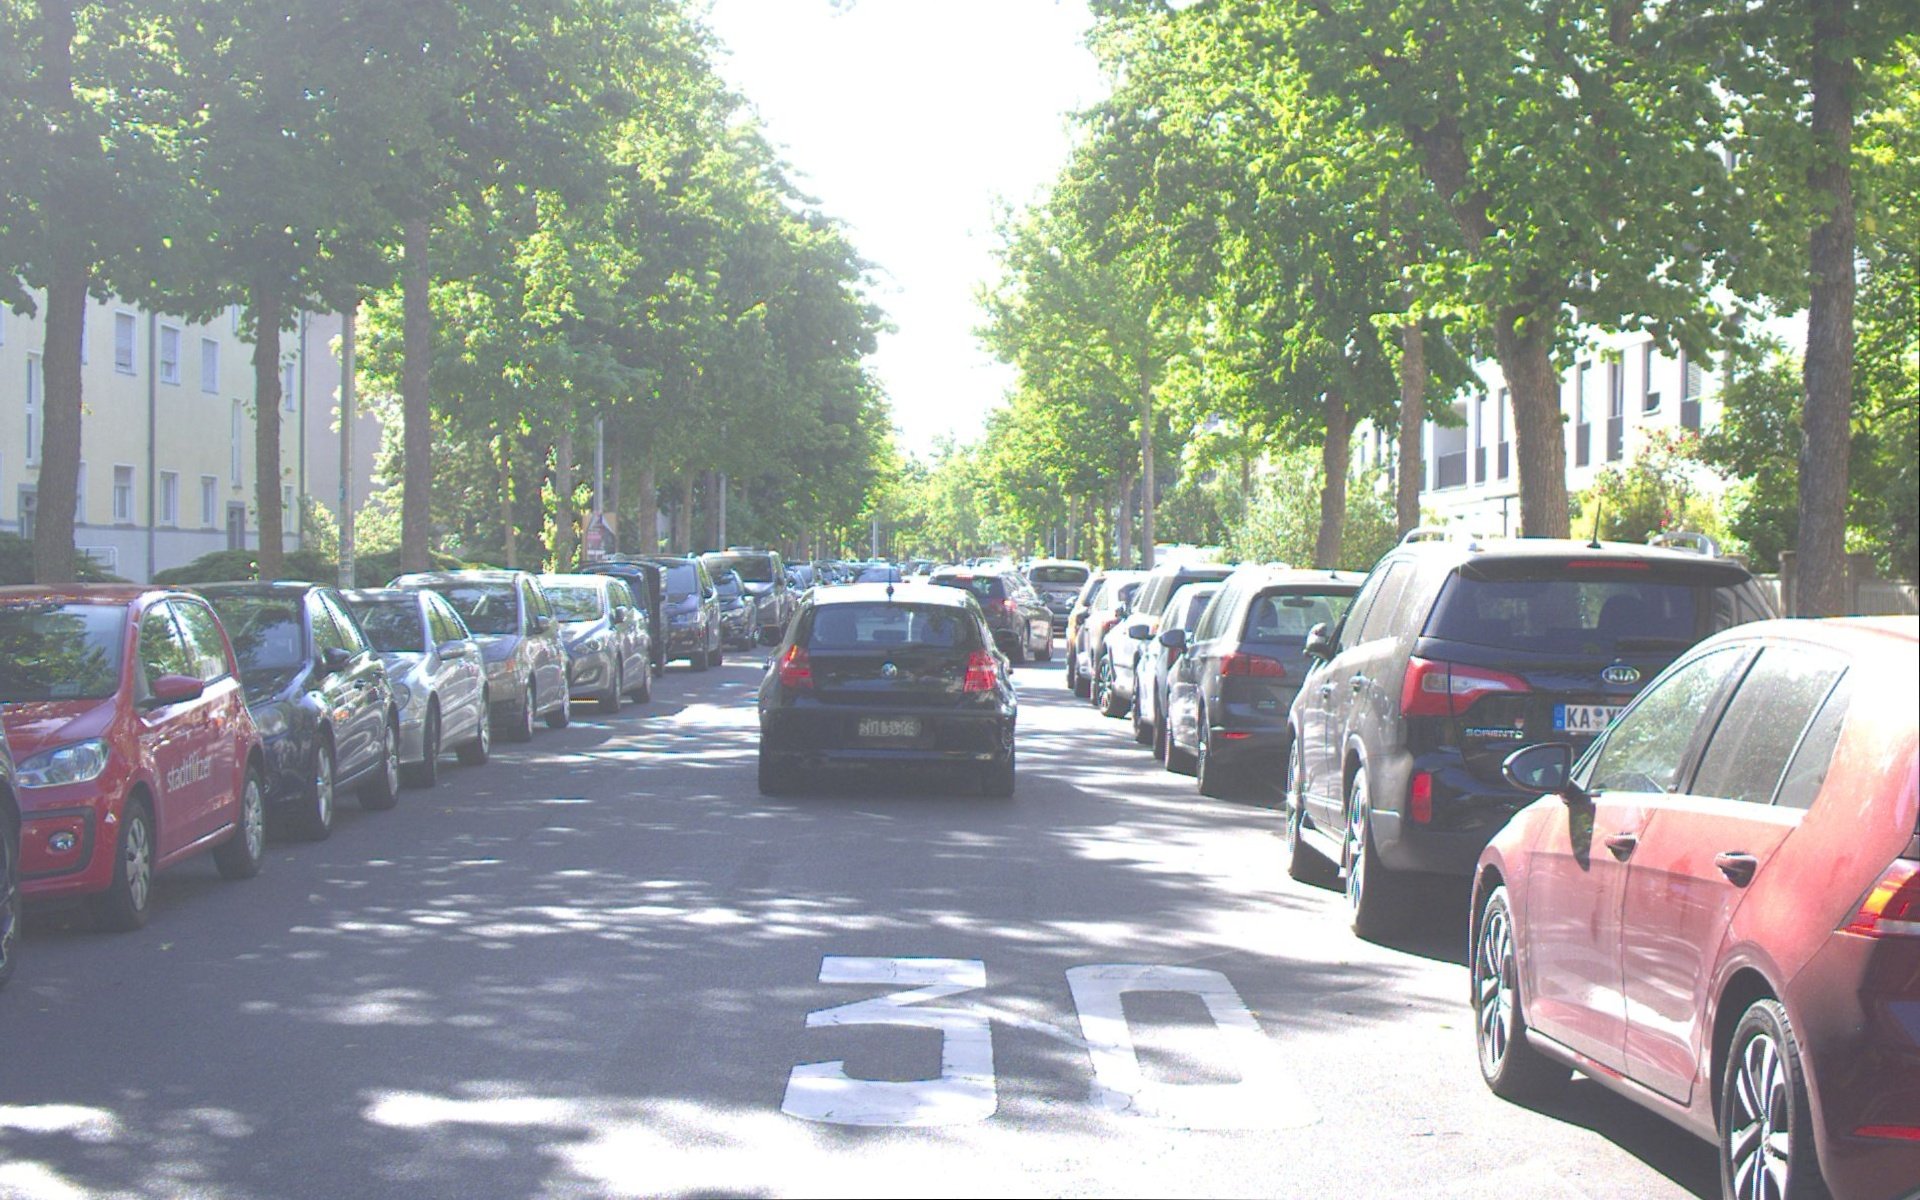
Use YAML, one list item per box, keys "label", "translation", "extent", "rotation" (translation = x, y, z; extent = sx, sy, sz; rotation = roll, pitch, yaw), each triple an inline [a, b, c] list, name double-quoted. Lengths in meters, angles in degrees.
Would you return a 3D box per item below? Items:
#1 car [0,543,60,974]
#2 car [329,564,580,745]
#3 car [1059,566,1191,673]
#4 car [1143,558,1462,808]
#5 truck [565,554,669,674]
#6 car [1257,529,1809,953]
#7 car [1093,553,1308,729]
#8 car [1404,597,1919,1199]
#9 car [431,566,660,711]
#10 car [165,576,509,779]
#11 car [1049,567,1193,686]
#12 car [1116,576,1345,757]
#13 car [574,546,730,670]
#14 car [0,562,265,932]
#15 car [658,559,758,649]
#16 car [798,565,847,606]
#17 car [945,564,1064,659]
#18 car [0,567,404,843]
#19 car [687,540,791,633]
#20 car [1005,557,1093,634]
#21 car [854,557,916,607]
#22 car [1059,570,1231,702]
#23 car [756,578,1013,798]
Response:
- label: "car"
  translation: [-4.272, 0.593, 10.986]
  extent: [1.691, 1.559, 4.736]
  rotation: [0, 1, -2]
- label: "car"
  translation: [-4.608, 0.450, 31.886]
  extent: [1.620, 1.510, 4.269]
  rotation: [-2, 1, 1]
- label: "car"
  translation: [2.325, 0.248, 49.151]
  extent: [1.700, 1.444, 4.082]
  rotation: [0, 1, 0]
- label: "car"
  translation: [2.404, 0.523, 25.164]
  extent: [1.684, 1.582, 4.536]
  rotation: [3, 1, -2]
- label: "truck"
  translation: [-4.611, 0.169, 46.369]
  extent: [1.084, 1.572, 2.431]
  rotation: [0, 1, 2]
- label: "car"
  translation: [2.480, 0.534, 15.901]
  extent: [1.780, 1.692, 4.298]
  rotation: [0, 1, -1]
- label: "car"
  translation: [2.346, 0.365, 34.403]
  extent: [1.648, 1.650, 3.847]
  rotation: [1, 1, -3]
- label: "car"
  translation: [2.371, 0.729, 8.802]
  extent: [1.611, 1.405, 4.352]
  rotation: [0, 1, -4]
- label: "car"
  translation: [-4.442, 0.369, 37.500]
  extent: [1.792, 1.439, 4.688]
  rotation: [-1, 1, 1]
- label: "car"
  translation: [-4.584, 0.516, 25.948]
  extent: [1.745, 1.364, 4.674]
  rotation: [0, 1, 0]
- label: "car"
  translation: [2.047, 0.304, 44.586]
  extent: [1.636, 1.450, 4.100]
  rotation: [0, 1, 0]
- label: "car"
  translation: [2.270, 0.518, 29.760]
  extent: [1.629, 1.420, 4.368]
  rotation: [0, 1, 0]
- label: "car"
  translation: [-4.514, 0.079, 51.000]
  extent: [1.849, 1.675, 4.977]
  rotation: [-2, 1, 0]
- label: "car"
  translation: [-4.311, 0.577, 15.570]
  extent: [1.665, 1.481, 3.256]
  rotation: [0, 1, 0]
- label: "car"
  translation: [-4.579, 0.046, 62.957]
  extent: [1.507, 1.543, 4.778]
  rotation: [-2, 1, -1]
- label: "car"
  translation: [-4.855, -0.519, 121.624]
  extent: [1.612, 1.387, 3.866]
  rotation: [-1, 1, -1]
- label: "car"
  translation: [0.671, 0.152, 54.333]
  extent: [1.649, 1.421, 4.002]
  rotation: [0, 1, -2]
- label: "car"
  translation: [-4.463, 0.546, 20.470]
  extent: [1.665, 1.454, 3.933]
  rotation: [0, 1, 0]
- label: "car"
  translation: [-4.691, -0.306, 73.574]
  extent: [1.826, 1.898, 5.142]
  rotation: [-1, 1, 0]
- label: "car"
  translation: [1.972, -0.106, 76.534]
  extent: [1.848, 1.625, 4.410]
  rotation: [1, 0, 1]
- label: "car"
  translation: [-2.156, -0.534, 99.334]
  extent: [1.505, 1.421, 3.177]
  rotation: [0, 1, 3]
- label: "car"
  translation: [2.088, 0.376, 39.524]
  extent: [1.649, 1.423, 3.613]
  rotation: [0, 1, -2]
- label: "car"
  translation: [-0.508, 0.554, 23.795]
  extent: [1.649, 1.392, 3.412]
  rotation: [0, 1, -1]
